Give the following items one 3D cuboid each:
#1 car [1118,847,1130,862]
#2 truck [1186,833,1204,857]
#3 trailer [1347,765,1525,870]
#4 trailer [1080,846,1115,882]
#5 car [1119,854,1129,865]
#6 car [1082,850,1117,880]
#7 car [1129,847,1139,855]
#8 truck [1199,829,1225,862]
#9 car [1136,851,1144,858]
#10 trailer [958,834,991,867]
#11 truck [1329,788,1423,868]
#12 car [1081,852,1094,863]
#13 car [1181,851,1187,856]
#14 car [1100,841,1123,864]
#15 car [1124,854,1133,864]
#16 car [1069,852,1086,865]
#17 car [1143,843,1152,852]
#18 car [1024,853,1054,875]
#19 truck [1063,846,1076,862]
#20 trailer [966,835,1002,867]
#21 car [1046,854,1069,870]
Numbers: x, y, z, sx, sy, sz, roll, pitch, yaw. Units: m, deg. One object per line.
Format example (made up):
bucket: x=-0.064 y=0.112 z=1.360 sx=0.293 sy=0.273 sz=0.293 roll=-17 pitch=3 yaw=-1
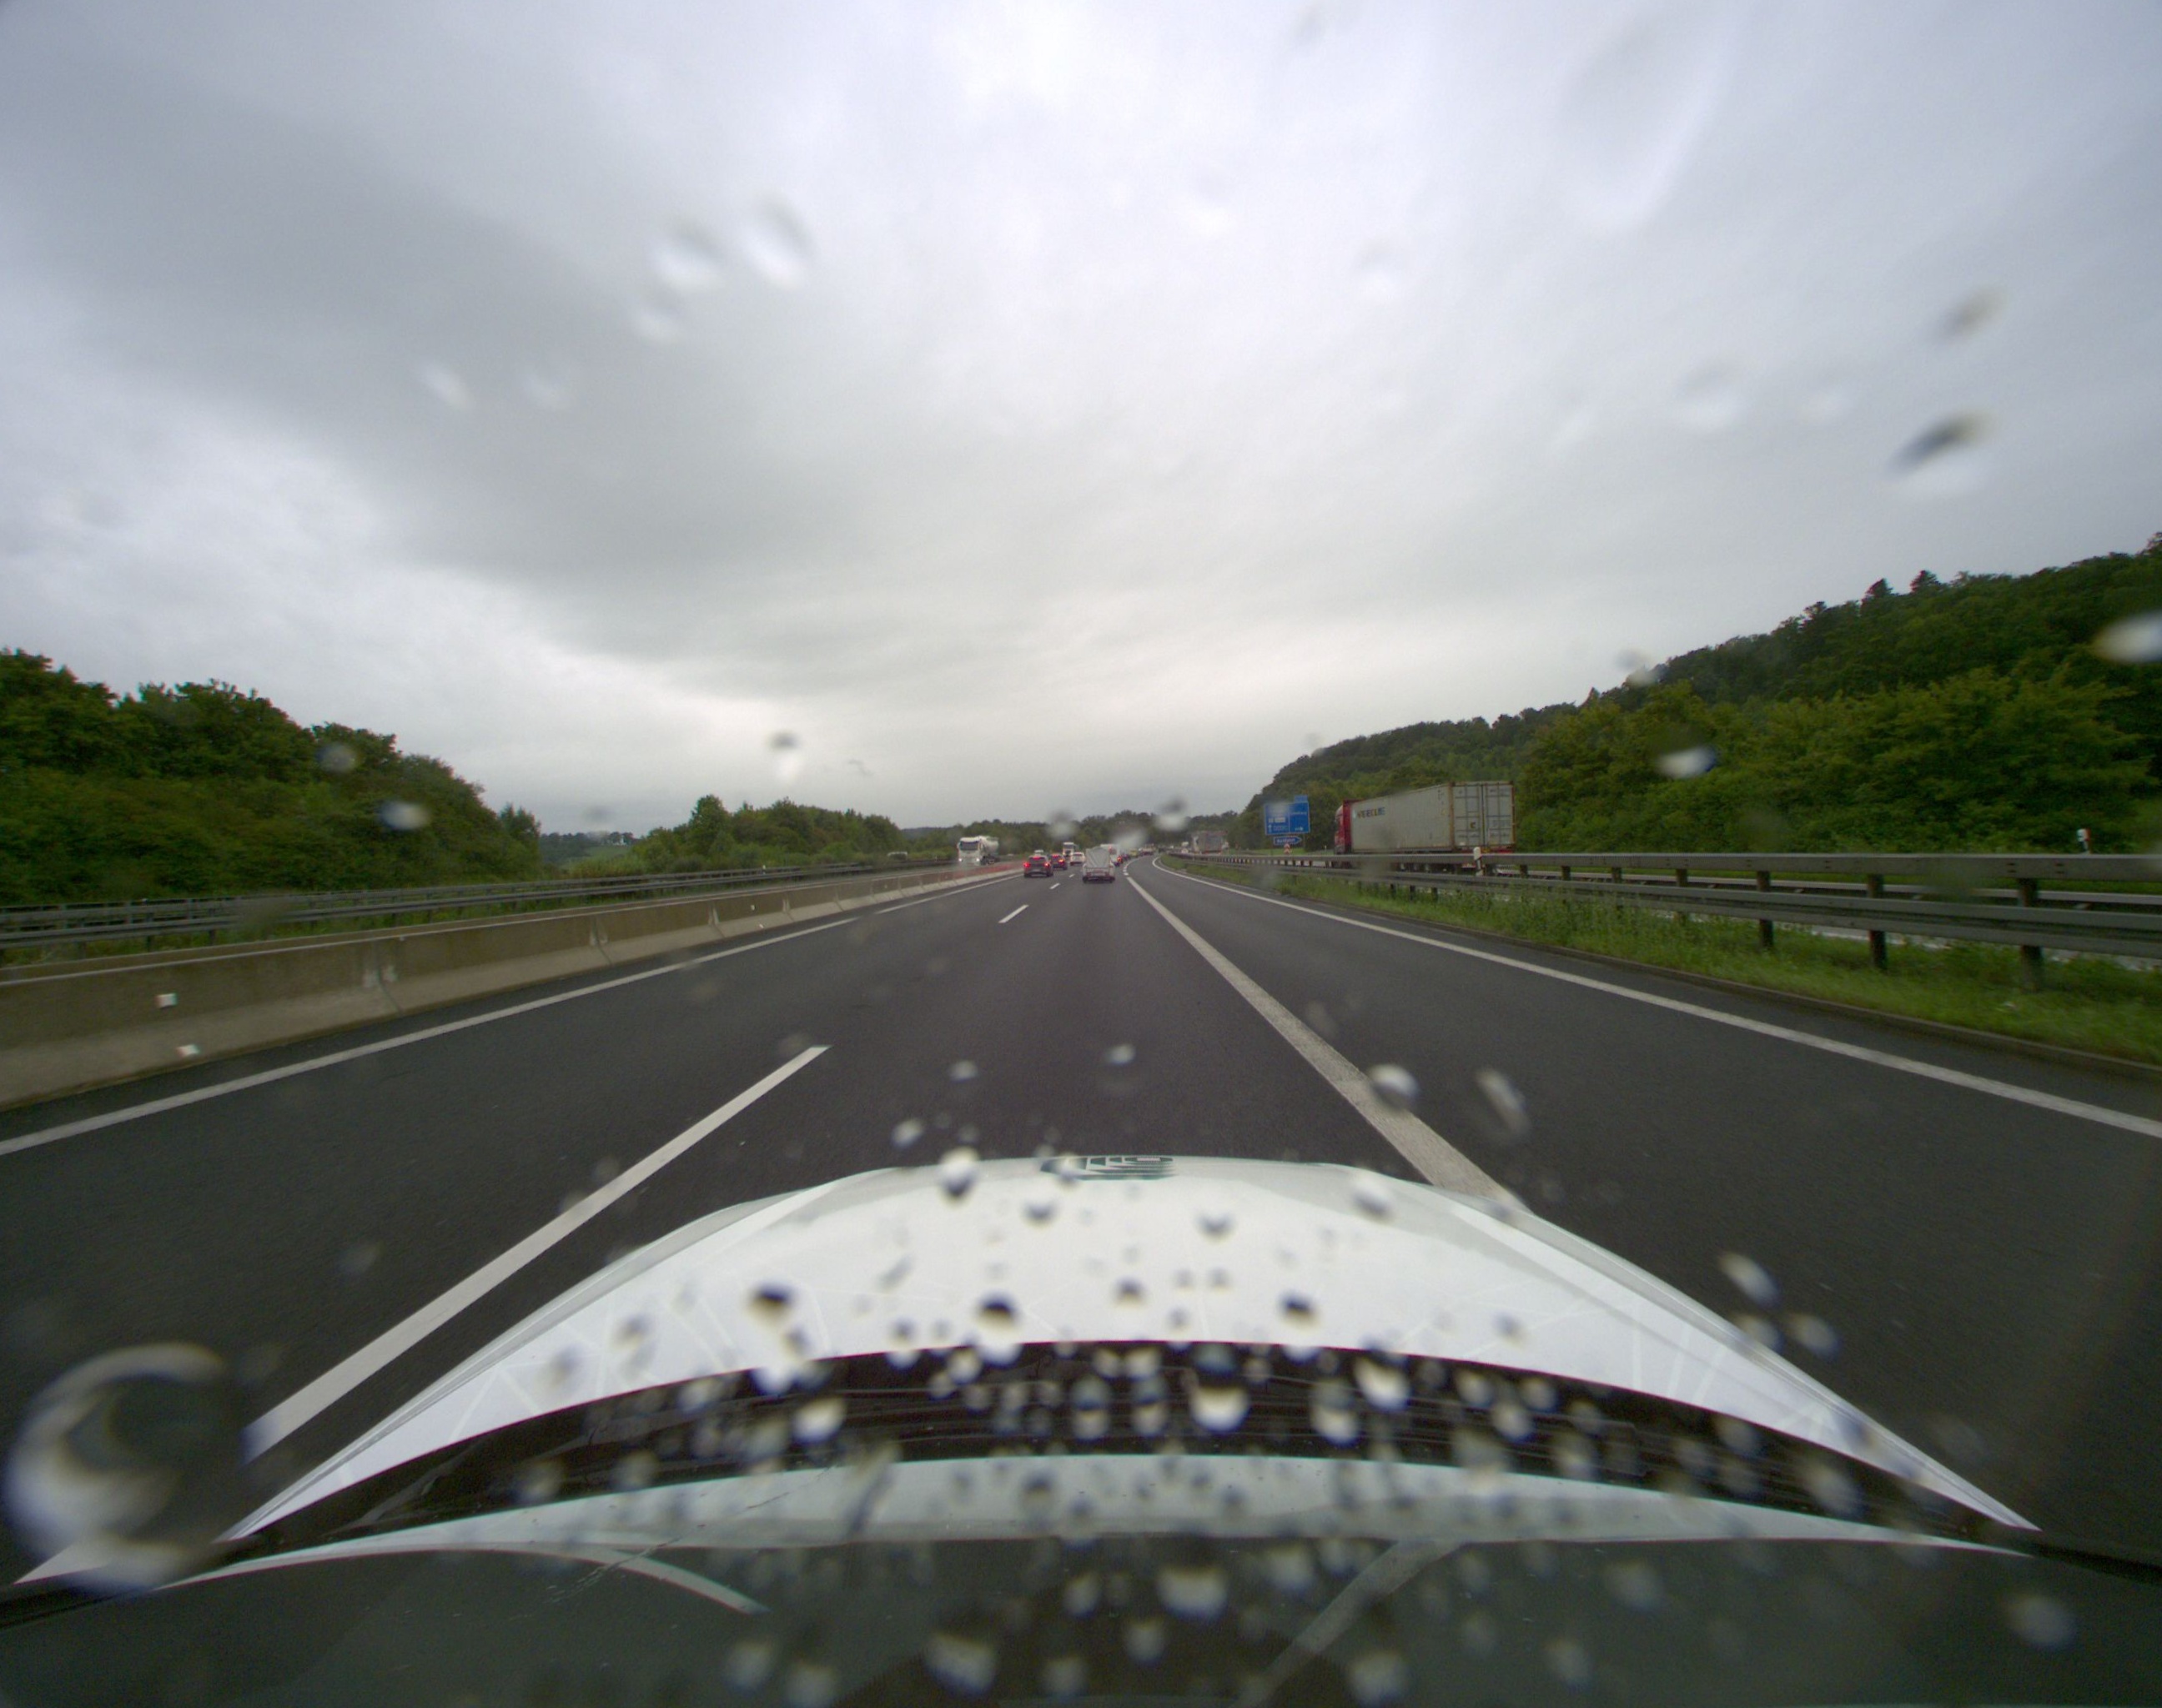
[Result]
car: x=6.095 y=0.100 z=116.077 sx=1.669 sy=2.067 sz=4.002 roll=-1 pitch=0 yaw=2
truck: x=23.172 y=-1.714 z=165.666 sx=3.199 sy=4.666 sz=13.055 roll=-1 pitch=0 yaw=6
trailer: x=15.288 y=-1.339 z=36.656 sx=2.595 sy=3.894 sz=12.489 roll=-1 pitch=0 yaw=0
trailer: x=0.932 y=0.521 z=44.207 sx=1.668 sy=1.812 sz=4.004 roll=-1 pitch=0 yaw=4
car: x=7.384 y=0.874 z=140.272 sx=1.668 sy=1.812 sz=4.004 roll=-1 pitch=0 yaw=4
car: x=1.134 y=0.612 z=47.750 sx=1.811 sy=1.616 sz=4.782 roll=-1 pitch=0 yaw=3
car: x=12.177 y=-0.600 z=186.594 sx=1.665 sy=1.812 sz=4.011 roll=-1 pitch=0 yaw=10
truck: x=20.138 y=-1.238 z=126.023 sx=3.199 sy=4.666 sz=13.054 roll=-1 pitch=0 yaw=6
car: x=14.865 y=0.059 z=204.202 sx=2.028 sy=1.683 sz=4.004 roll=-1 pitch=0 yaw=4
trailer: x=-12.651 y=-0.403 z=97.547 sx=2.625 sy=3.715 sz=6.498 roll=-1 pitch=0 yaw=4
truck: x=15.326 y=-1.255 z=42.842 sx=2.607 sy=3.884 sz=6.391 roll=-1 pitch=0 yaw=0
car: x=0.991 y=0.585 z=123.456 sx=1.769 sy=1.640 sz=4.044 roll=-1 pitch=0 yaw=1
car: x=28.248 y=-0.182 z=222.964 sx=1.667 sy=1.456 sz=4.007 roll=-1 pitch=0 yaw=6
car: x=3.685 y=-0.112 z=96.223 sx=2.497 sy=2.585 sz=5.705 roll=-1 pitch=0 yaw=4
car: x=9.265 y=1.009 z=158.980 sx=1.668 sy=1.812 sz=4.004 roll=-1 pitch=0 yaw=4
car: x=-0.401 y=0.569 z=101.466 sx=1.768 sy=1.640 sz=4.047 roll=-1 pitch=0 yaw=4
car: x=19.087 y=-1.817 z=233.667 sx=2.503 sy=2.574 sz=5.321 roll=-1 pitch=0 yaw=6
car: x=-2.828 y=0.660 z=55.433 sx=1.670 sy=1.456 sz=4.001 roll=-1 pitch=0 yaw=1
truck: x=-2.709 y=-0.071 z=196.770 sx=2.876 sy=3.749 sz=5.947 roll=-1 pitch=0 yaw=2
trailer: x=-12.245 y=-0.359 z=103.843 sx=2.625 sy=3.736 sz=10.821 roll=-1 pitch=0 yaw=4
car: x=-2.167 y=0.709 z=76.431 sx=1.758 sy=1.456 sz=4.003 roll=-1 pitch=0 yaw=3
